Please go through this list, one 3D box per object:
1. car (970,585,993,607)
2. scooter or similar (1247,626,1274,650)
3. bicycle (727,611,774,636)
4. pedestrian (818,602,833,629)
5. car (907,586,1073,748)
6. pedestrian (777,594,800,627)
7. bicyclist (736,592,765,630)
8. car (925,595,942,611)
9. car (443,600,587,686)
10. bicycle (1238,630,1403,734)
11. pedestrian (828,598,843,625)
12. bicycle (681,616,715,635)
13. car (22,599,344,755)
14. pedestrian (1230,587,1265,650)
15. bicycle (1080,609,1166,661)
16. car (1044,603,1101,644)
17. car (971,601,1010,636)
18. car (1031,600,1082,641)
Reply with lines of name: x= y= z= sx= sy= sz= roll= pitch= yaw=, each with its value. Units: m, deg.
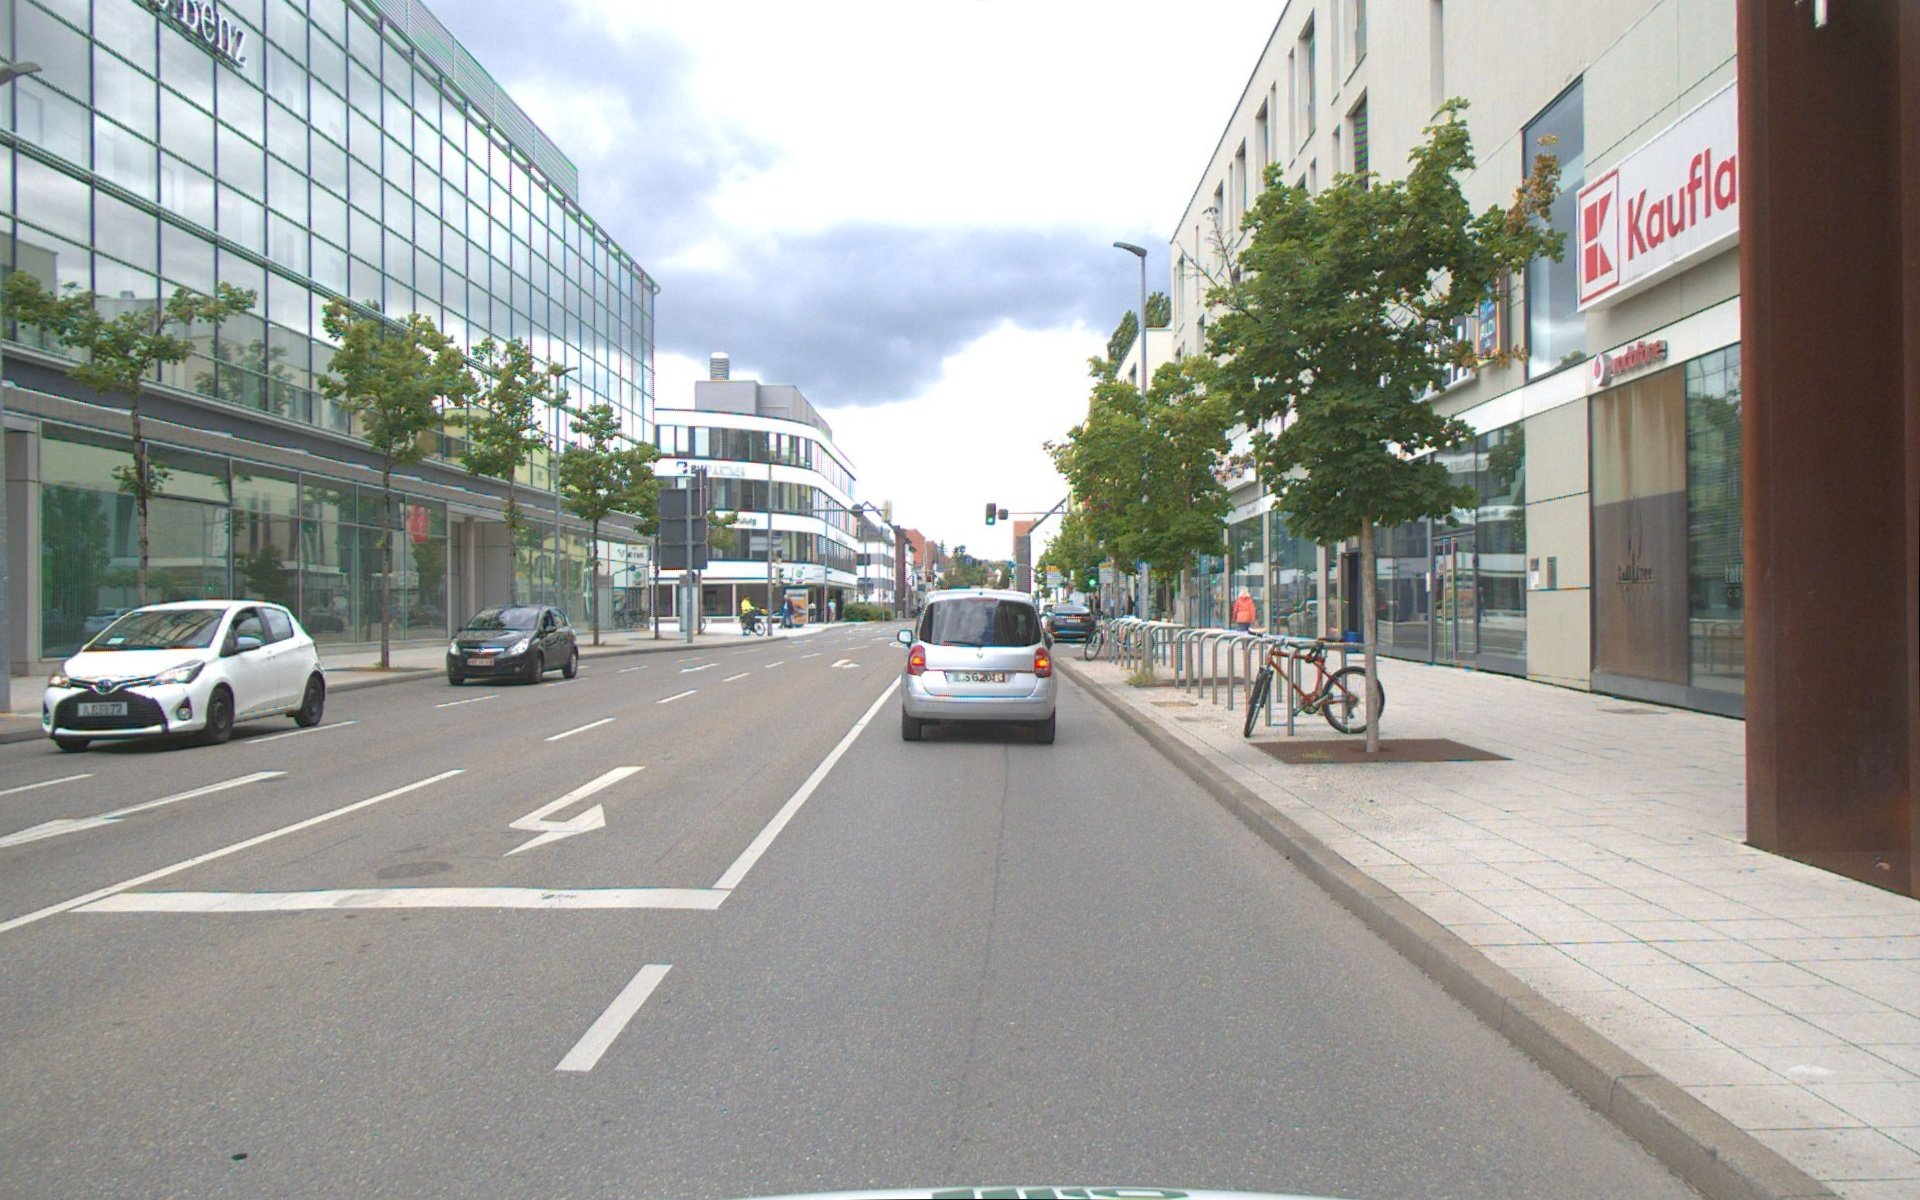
car: x=1.996 y=-0.370 z=154.969 sx=2.125 sy=2.049 sz=4.258 roll=-1 pitch=0 yaw=1
scooter or similar: x=7.735 y=0.980 z=42.570 sx=0.538 sy=0.555 sz=0.642 roll=-3 pitch=0 yaw=1
bicycle: x=-9.600 y=1.052 z=75.621 sx=0.995 sy=1.036 sz=3.098 roll=2 pitch=-1 yaw=-30
pedestrian: x=-9.246 y=1.045 z=113.747 sx=0.941 sy=1.865 sz=1.250 roll=-1 pitch=0 yaw=1
car: x=0.250 y=0.671 z=18.464 sx=1.636 sy=1.581 sz=3.641 roll=2 pitch=0 yaw=-2
pedestrian: x=-9.804 y=0.589 z=94.604 sx=1.223 sy=1.865 sz=0.962 roll=-1 pitch=0 yaw=-8
bicyclist: x=-9.588 y=0.491 z=75.639 sx=0.996 sy=1.689 sz=0.923 roll=2 pitch=-1 yaw=-31
car: x=-3.566 y=0.402 z=220.401 sx=2.125 sy=2.049 sz=4.258 roll=-1 pitch=0 yaw=1
car: x=-8.475 y=0.781 z=31.805 sx=1.626 sy=1.506 sz=4.000 roll=-1 pitch=0 yaw=1
bicycle: x=3.632 y=0.821 z=16.758 sx=1.528 sy=1.010 sz=0.753 roll=0 pitch=0 yaw=3
pedestrian: x=-8.850 y=0.800 z=118.024 sx=0.941 sy=1.865 sz=1.250 roll=-1 pitch=0 yaw=1
bicycle: x=-13.026 y=1.255 z=82.171 sx=0.819 sy=0.914 sz=2.498 roll=0 pitch=0 yaw=-32
car: x=-8.418 y=0.758 z=18.341 sx=1.626 sy=1.491 sz=4.000 roll=-1 pitch=0 yaw=1
pedestrian: x=7.544 y=0.485 z=43.398 sx=0.696 sy=1.602 sz=0.812 roll=-3 pitch=0 yaw=1
bicycle: x=3.612 y=0.770 z=36.722 sx=1.788 sy=1.093 sz=0.752 roll=-2 pitch=0 yaw=-1
car: x=4.093 y=0.841 z=60.872 sx=1.839 sy=1.358 sz=4.000 roll=2 pitch=0 yaw=1
car: x=1.441 y=0.849 z=78.560 sx=1.636 sy=1.581 sz=3.641 roll=2 pitch=0 yaw=-1
car: x=3.912 y=0.806 z=67.562 sx=1.839 sy=1.535 sz=4.000 roll=2 pitch=0 yaw=1
